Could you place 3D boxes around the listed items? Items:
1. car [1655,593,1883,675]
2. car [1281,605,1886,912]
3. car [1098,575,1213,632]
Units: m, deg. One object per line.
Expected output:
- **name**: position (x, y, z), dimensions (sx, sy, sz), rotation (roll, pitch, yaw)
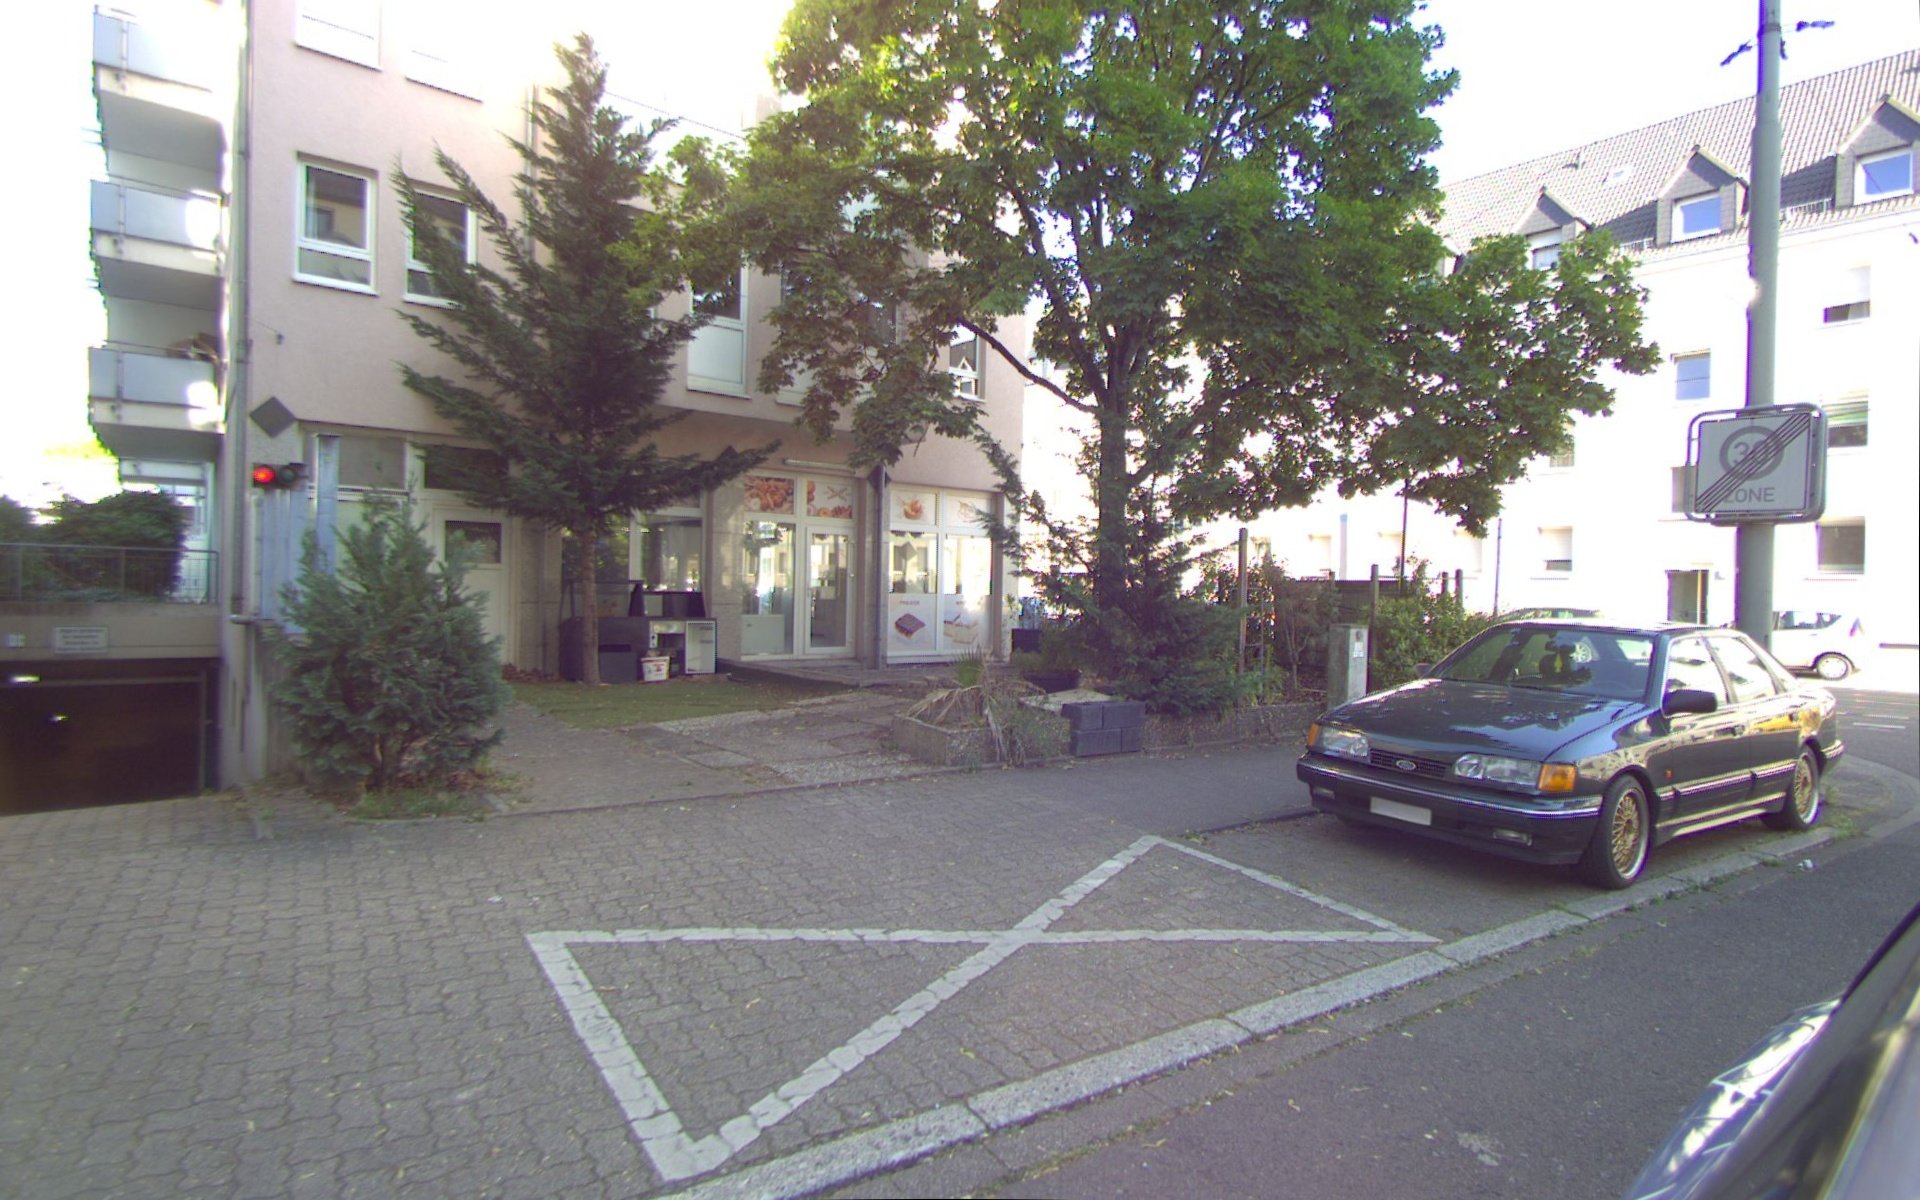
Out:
- **car**: position (18.867, 0.717, 23.736), dimensions (1.729, 1.590, 3.901), rotation (-3, 3, -38)
- **car**: position (4.339, 0.771, 6.800), dimensions (4.481, 1.405, 1.715), rotation (0, 2, -33)
- **car**: position (7.309, 0.071, 38.228), dimensions (1.760, 1.995, 4.151), rotation (-1, 2, -38)
